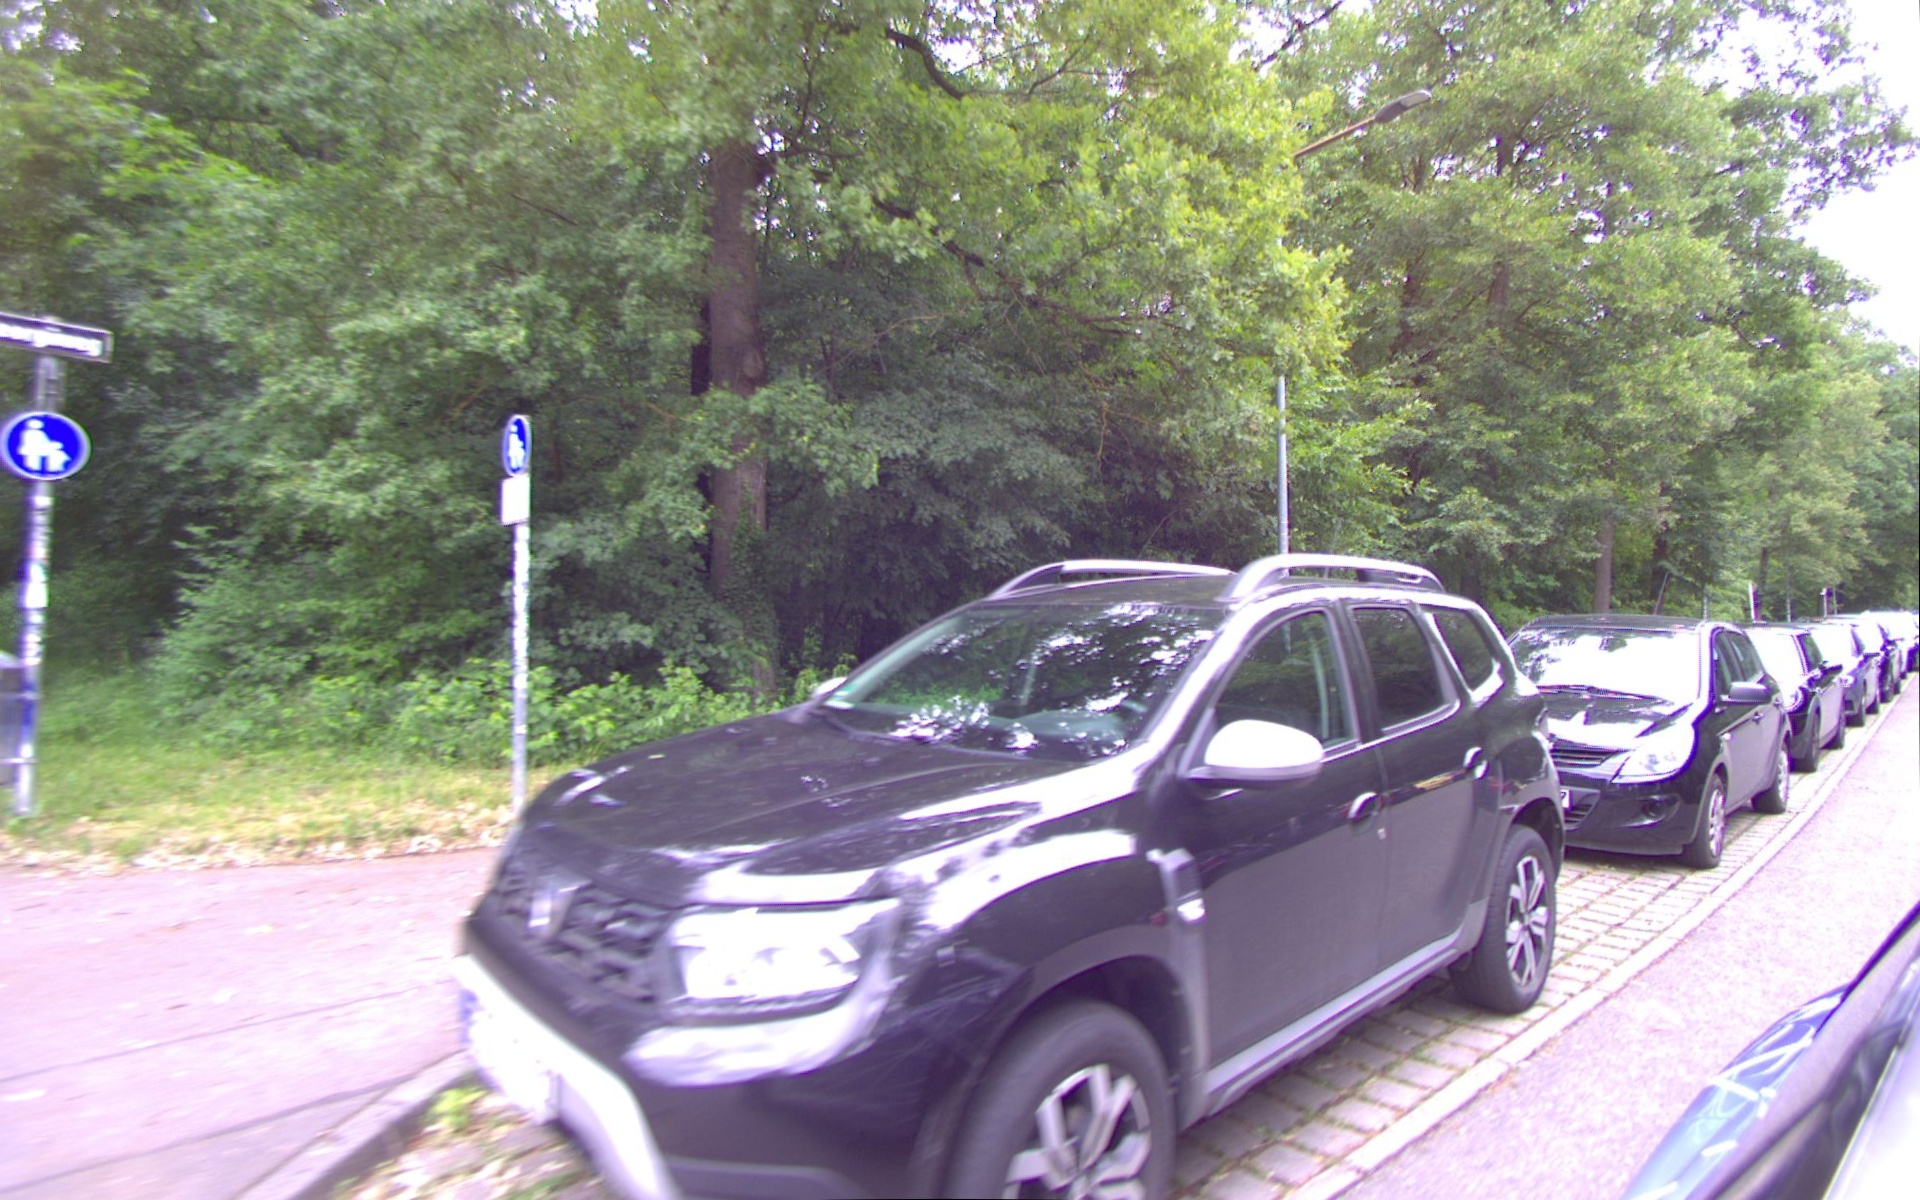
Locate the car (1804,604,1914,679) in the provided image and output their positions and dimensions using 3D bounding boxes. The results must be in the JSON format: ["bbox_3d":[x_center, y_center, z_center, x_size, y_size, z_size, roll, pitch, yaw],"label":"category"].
[{"bbox_3d":[20.885,0.897,23.459,1.736,1.588,3.944,-1,-1,44],"label":"car"}]

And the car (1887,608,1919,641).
[{"bbox_3d":[43.903,1.123,46.547,1.736,1.453,4.669,-1,-1,44],"label":"car"}]

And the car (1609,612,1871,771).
[{"bbox_3d":[8.977,0.868,11.494,4.427,1.450,1.737,1,-1,-44],"label":"car"}]

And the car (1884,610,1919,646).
[{"bbox_3d":[39.728,1.149,42.135,1.736,1.425,4.357,-1,-1,44],"label":"car"}]

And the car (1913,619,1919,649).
[{"bbox_3d":[53.459,1.845,55.340,1.902,1.607,4.410,-1,-1,44],"label":"car"}]

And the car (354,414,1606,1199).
[{"bbox_3d":[0.606,0.607,3.441,4.303,1.654,1.737,1,-1,-44],"label":"car"}]

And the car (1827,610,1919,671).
[{"bbox_3d":[23.639,0.986,26.078,1.736,1.443,4.088,-1,-1,44],"label":"car"}]

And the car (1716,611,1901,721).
[{"bbox_3d":[13.129,0.900,15.558,4.427,1.450,1.737,1,-1,-44],"label":"car"}]

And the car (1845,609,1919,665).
[{"bbox_3d":[26.858,1.022,29.226,1.736,1.493,4.532,-1,-1,44],"label":"car"}]

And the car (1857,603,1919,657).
[{"bbox_3d":[30.951,0.950,33.436,1.736,1.664,4.991,-1,-1,44],"label":"car"}]

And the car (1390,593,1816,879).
[{"bbox_3d":[4.910,0.741,7.460,4.163,1.514,1.737,1,-1,-44],"label":"car"}]

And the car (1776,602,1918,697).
[{"bbox_3d":[16.992,0.866,19.315,4.310,1.609,1.737,1,-1,-45],"label":"car"}]
